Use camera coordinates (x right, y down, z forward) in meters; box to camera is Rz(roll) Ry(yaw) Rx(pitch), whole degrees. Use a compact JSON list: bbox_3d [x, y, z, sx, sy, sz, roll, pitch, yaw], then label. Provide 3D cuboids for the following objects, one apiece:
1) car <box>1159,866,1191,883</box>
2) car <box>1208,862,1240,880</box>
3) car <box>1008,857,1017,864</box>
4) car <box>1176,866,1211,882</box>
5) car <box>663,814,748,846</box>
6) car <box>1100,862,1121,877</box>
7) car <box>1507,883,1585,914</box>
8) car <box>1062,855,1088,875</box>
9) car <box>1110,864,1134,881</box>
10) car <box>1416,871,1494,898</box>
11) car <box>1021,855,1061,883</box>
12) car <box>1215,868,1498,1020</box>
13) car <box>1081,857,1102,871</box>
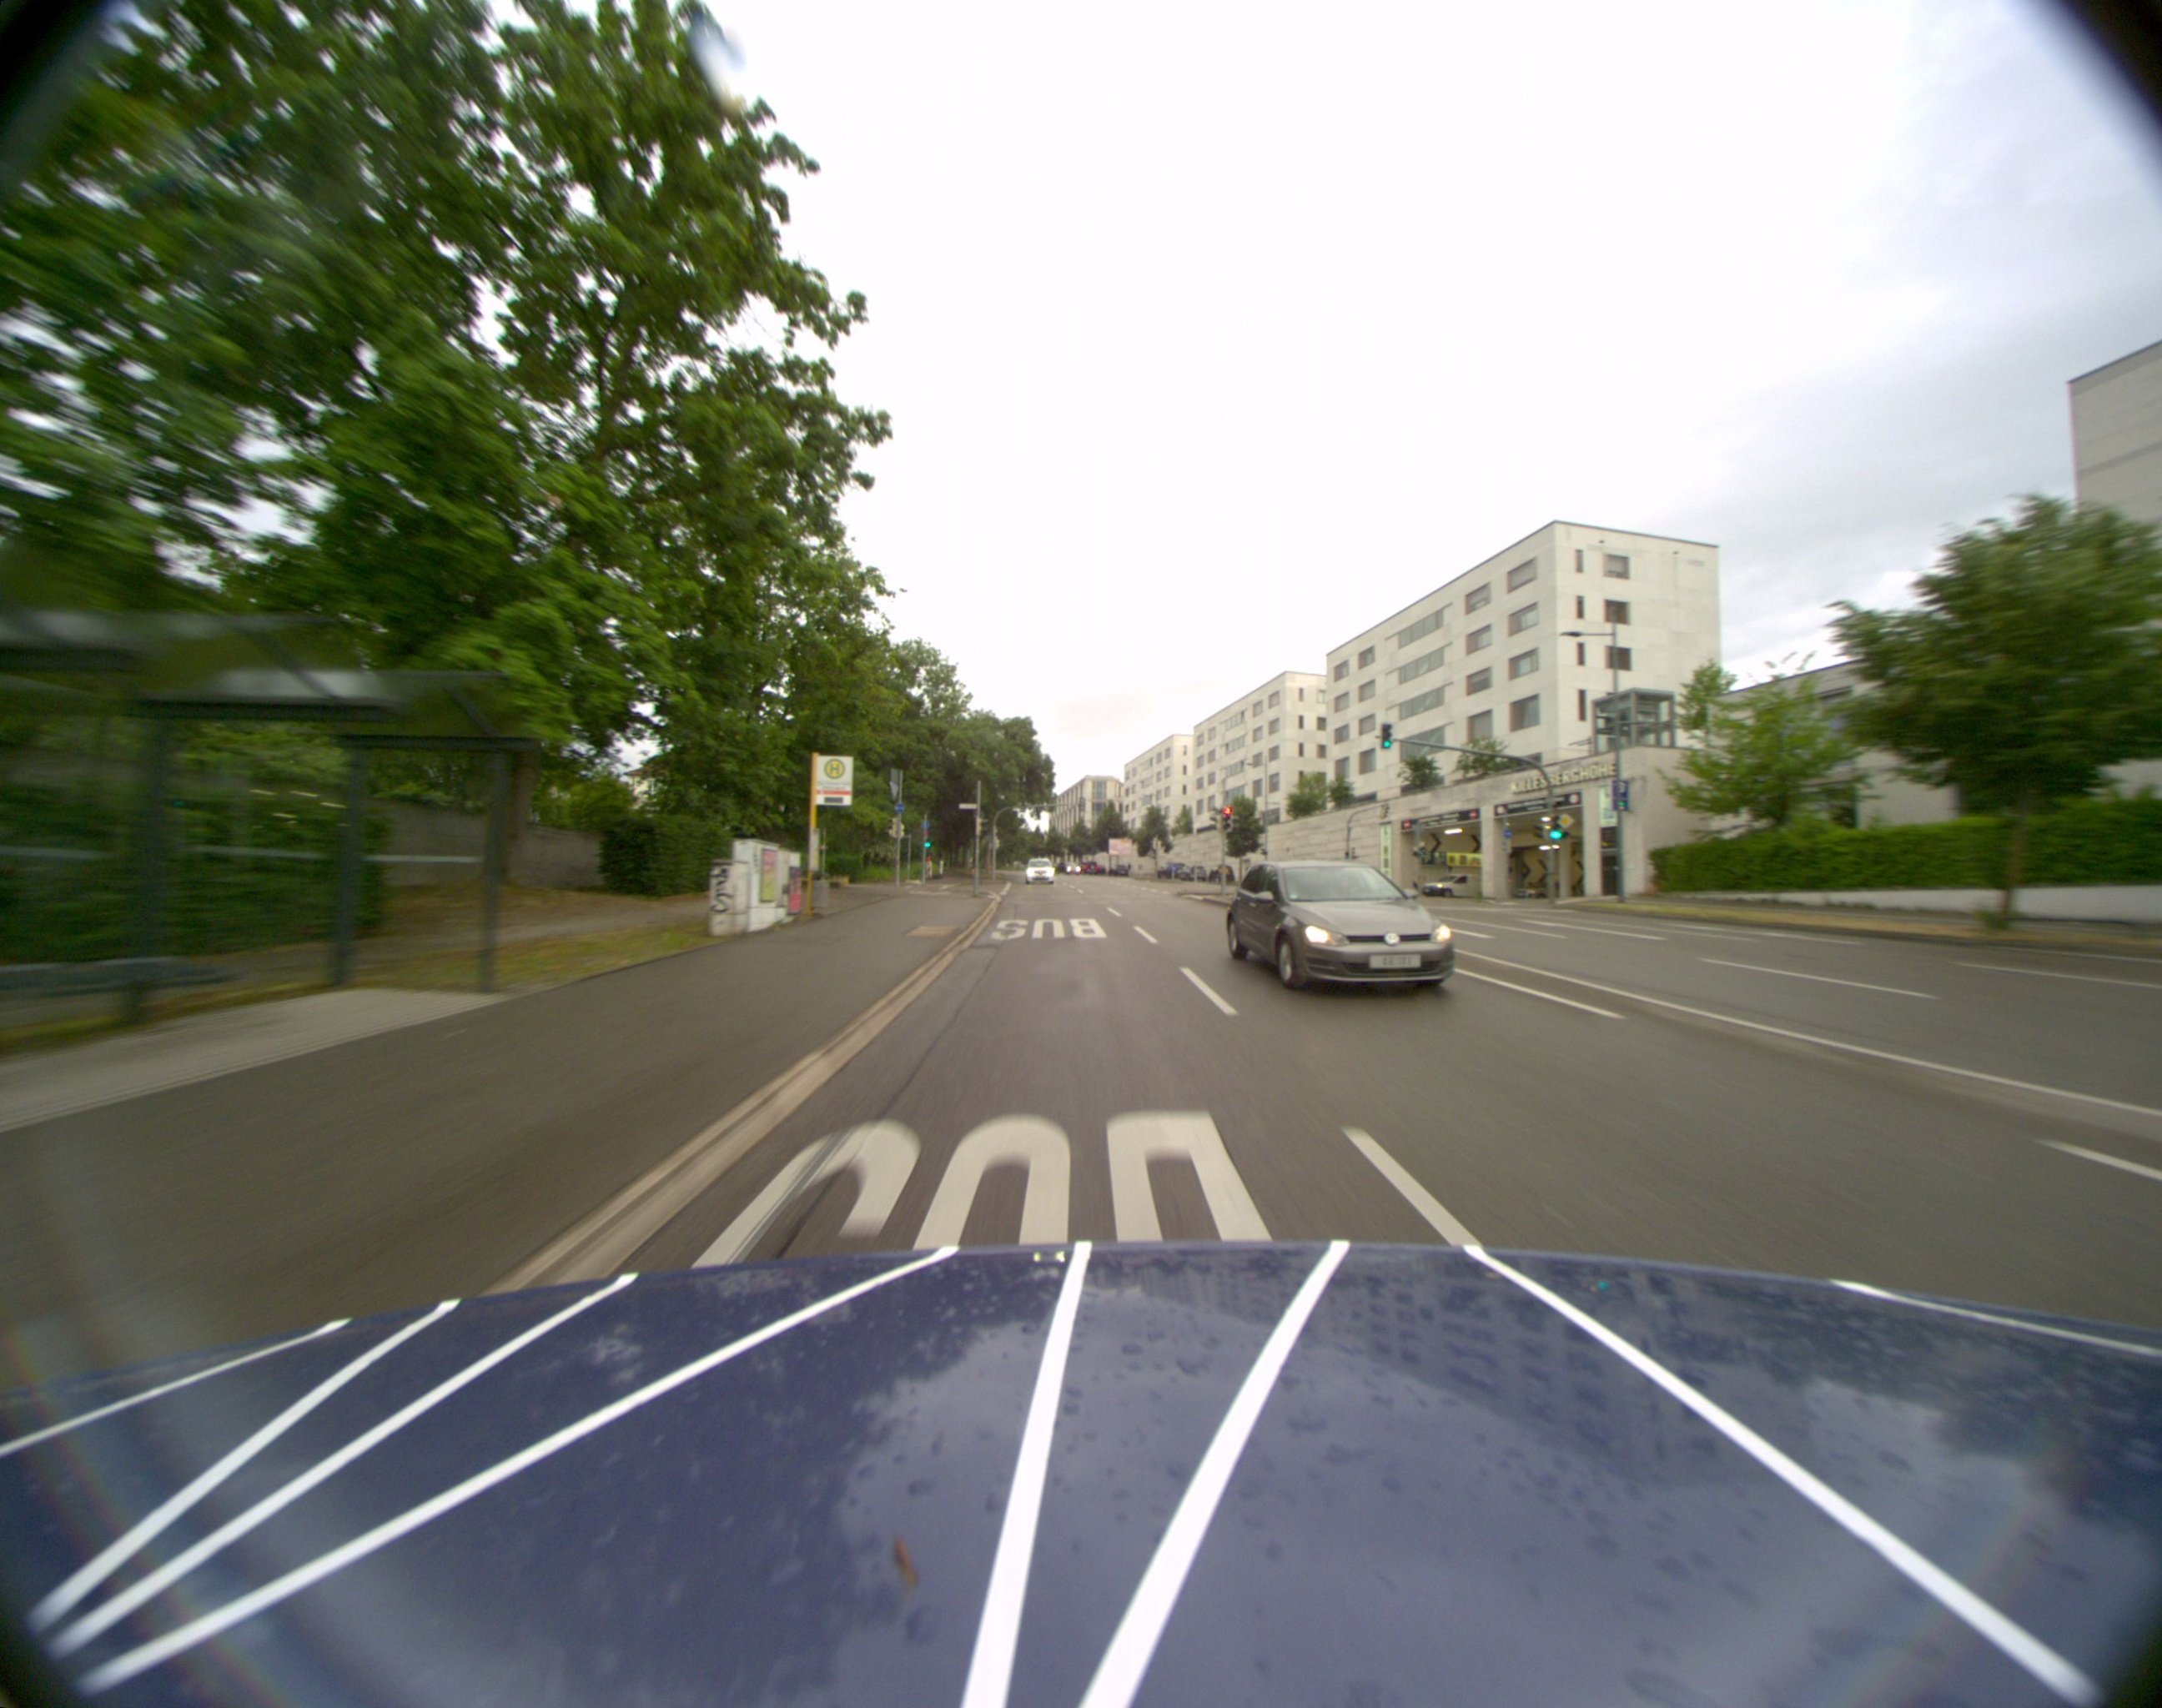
[{"bbox_3d":[9.412,2.047,76.543,1.791,1.622,3.995,1,-1,-15],"label":"car"},{"bbox_3d":[12.451,1.491,66.335,1.682,1.450,2.692,1,-1,-15],"label":"car"},{"bbox_3d":[-18.426,1.760,204.876,2.000,1.739,3.997,0,-1,-9],"label":"car"},{"bbox_3d":[10.617,1.895,72.066,1.865,1.469,3.995,1,-1,-15],"label":"car"},{"bbox_3d":[-20.296,-1.253,41.200,3.909,1.538,1.878,2,-1,-20],"label":"car"},{"bbox_3d":[4.123,2.230,106.207,1.926,2.001,4.383,0,-2,-12],"label":"car"},{"bbox_3d":[28.970,2.760,47.362,4.001,1.761,1.798,1,0,-12],"label":"car"},{"bbox_3d":[-0.679,1.221,81.978,1.926,2.001,4.383,0,-2,-12],"label":"car"},{"bbox_3d":[5.075,2.327,95.361,1.926,2.001,4.383,0,-2,-12],"label":"car"},{"bbox_3d":[24.529,1.977,49.884,4.349,1.642,1.997,1,0,-15],"label":"car"},{"bbox_3d":[-2.565,0.980,47.525,1.929,1.651,3.997,1,-2,-12],"label":"car"},{"bbox_3d":[3.066,0.916,9.546,1.876,1.432,4.296,0,-1,-2],"label":"car"},{"bbox_3d":[1.356,1.332,101.015,1.966,1.828,4.445,1,-1,-11],"label":"car"}]
